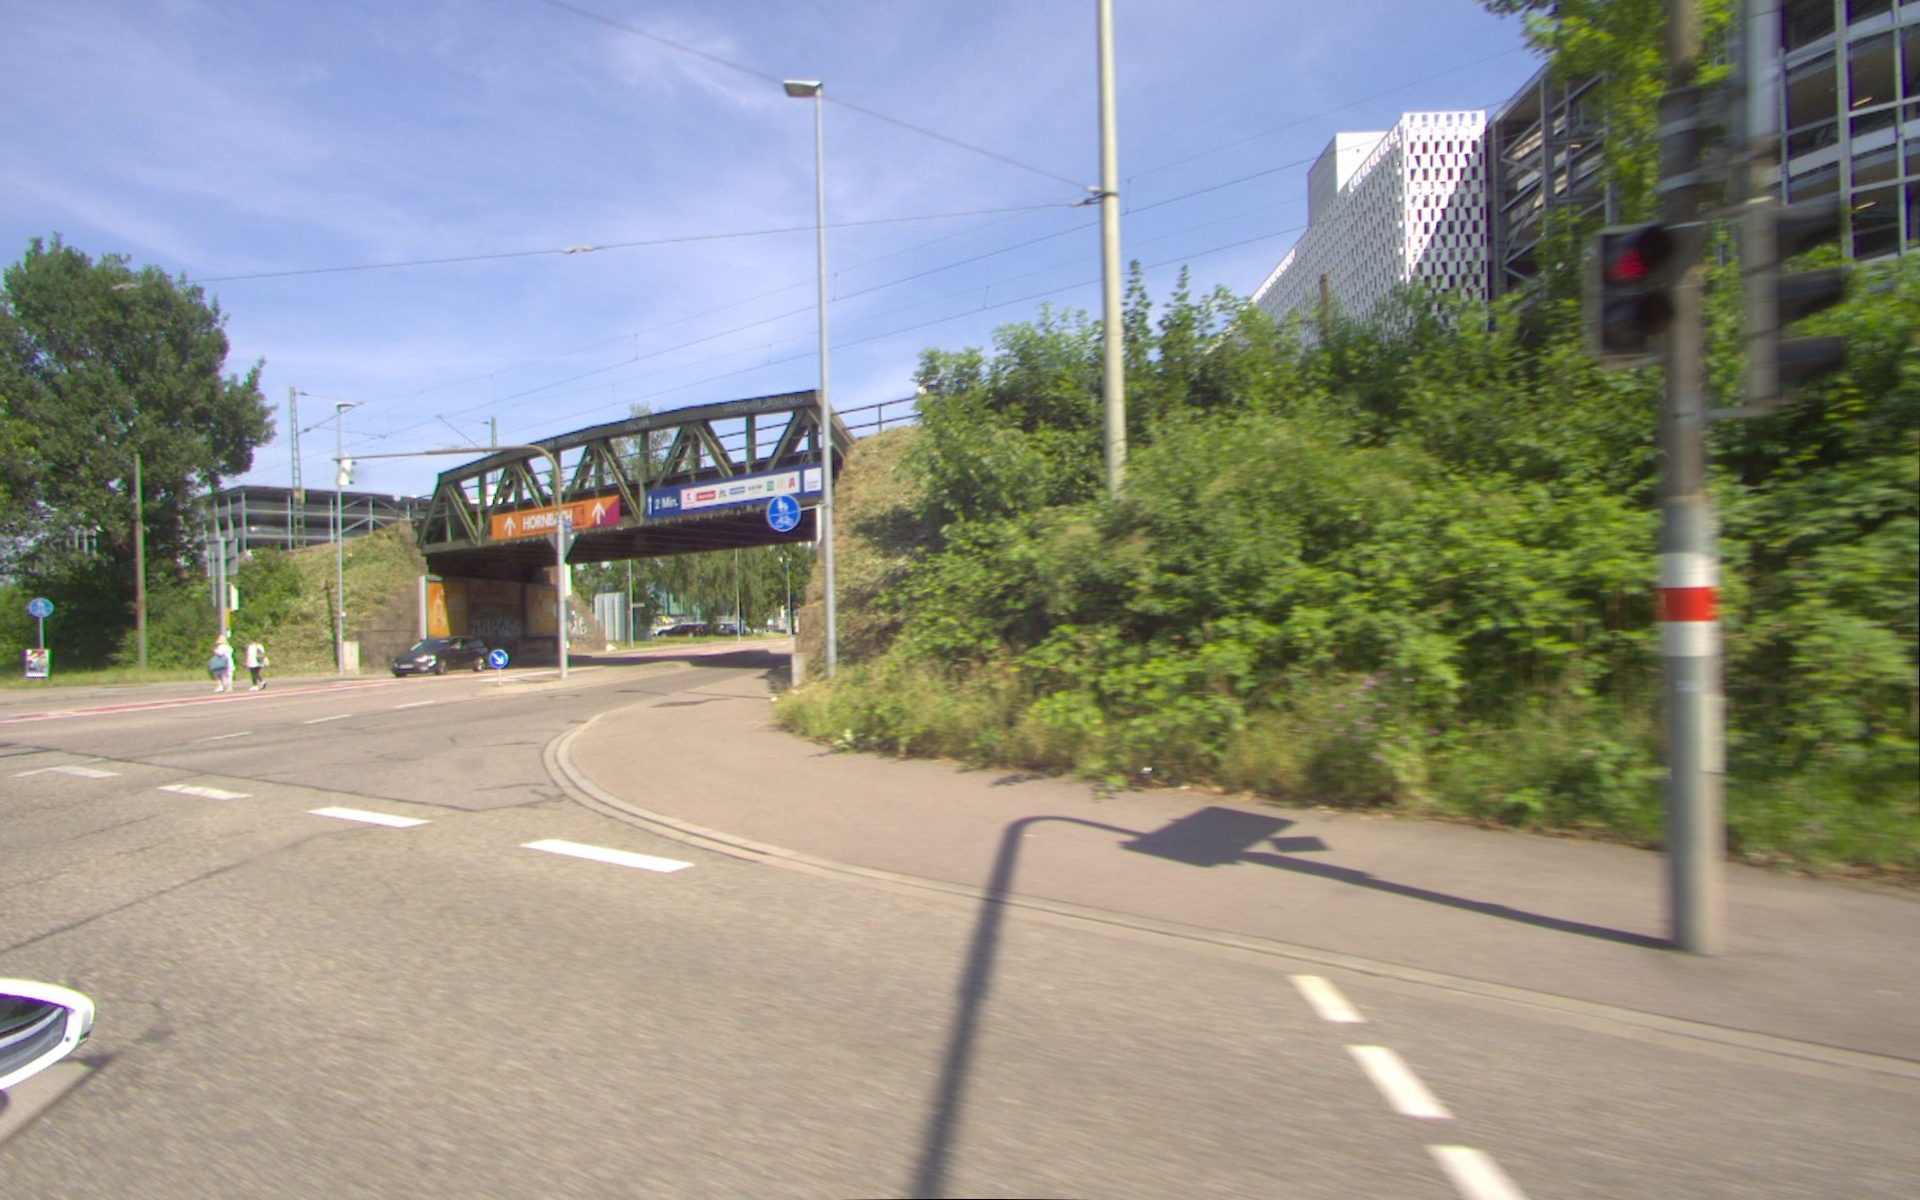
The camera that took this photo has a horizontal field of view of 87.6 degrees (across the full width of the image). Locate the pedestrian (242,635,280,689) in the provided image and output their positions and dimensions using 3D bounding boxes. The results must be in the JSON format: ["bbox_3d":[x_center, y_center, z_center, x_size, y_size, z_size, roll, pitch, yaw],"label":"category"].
[{"bbox_3d":[-21.130,1.862,30.274,0.767,1.600,0.727,-1,-1,35],"label":"pedestrian"}]

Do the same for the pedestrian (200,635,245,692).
[{"bbox_3d":[-21.722,1.856,29.514,0.767,1.632,0.865,-1,-1,35],"label":"pedestrian"}]

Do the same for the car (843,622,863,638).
[{"bbox_3d":[-13.937,3.905,130.985,1.961,2.039,4.001,-1,-1,2],"label":"car"}]

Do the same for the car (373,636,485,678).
[{"bbox_3d":[-20.346,2.155,38.610,1.961,1.427,4.502,-1,-1,-1],"label":"car"}]
